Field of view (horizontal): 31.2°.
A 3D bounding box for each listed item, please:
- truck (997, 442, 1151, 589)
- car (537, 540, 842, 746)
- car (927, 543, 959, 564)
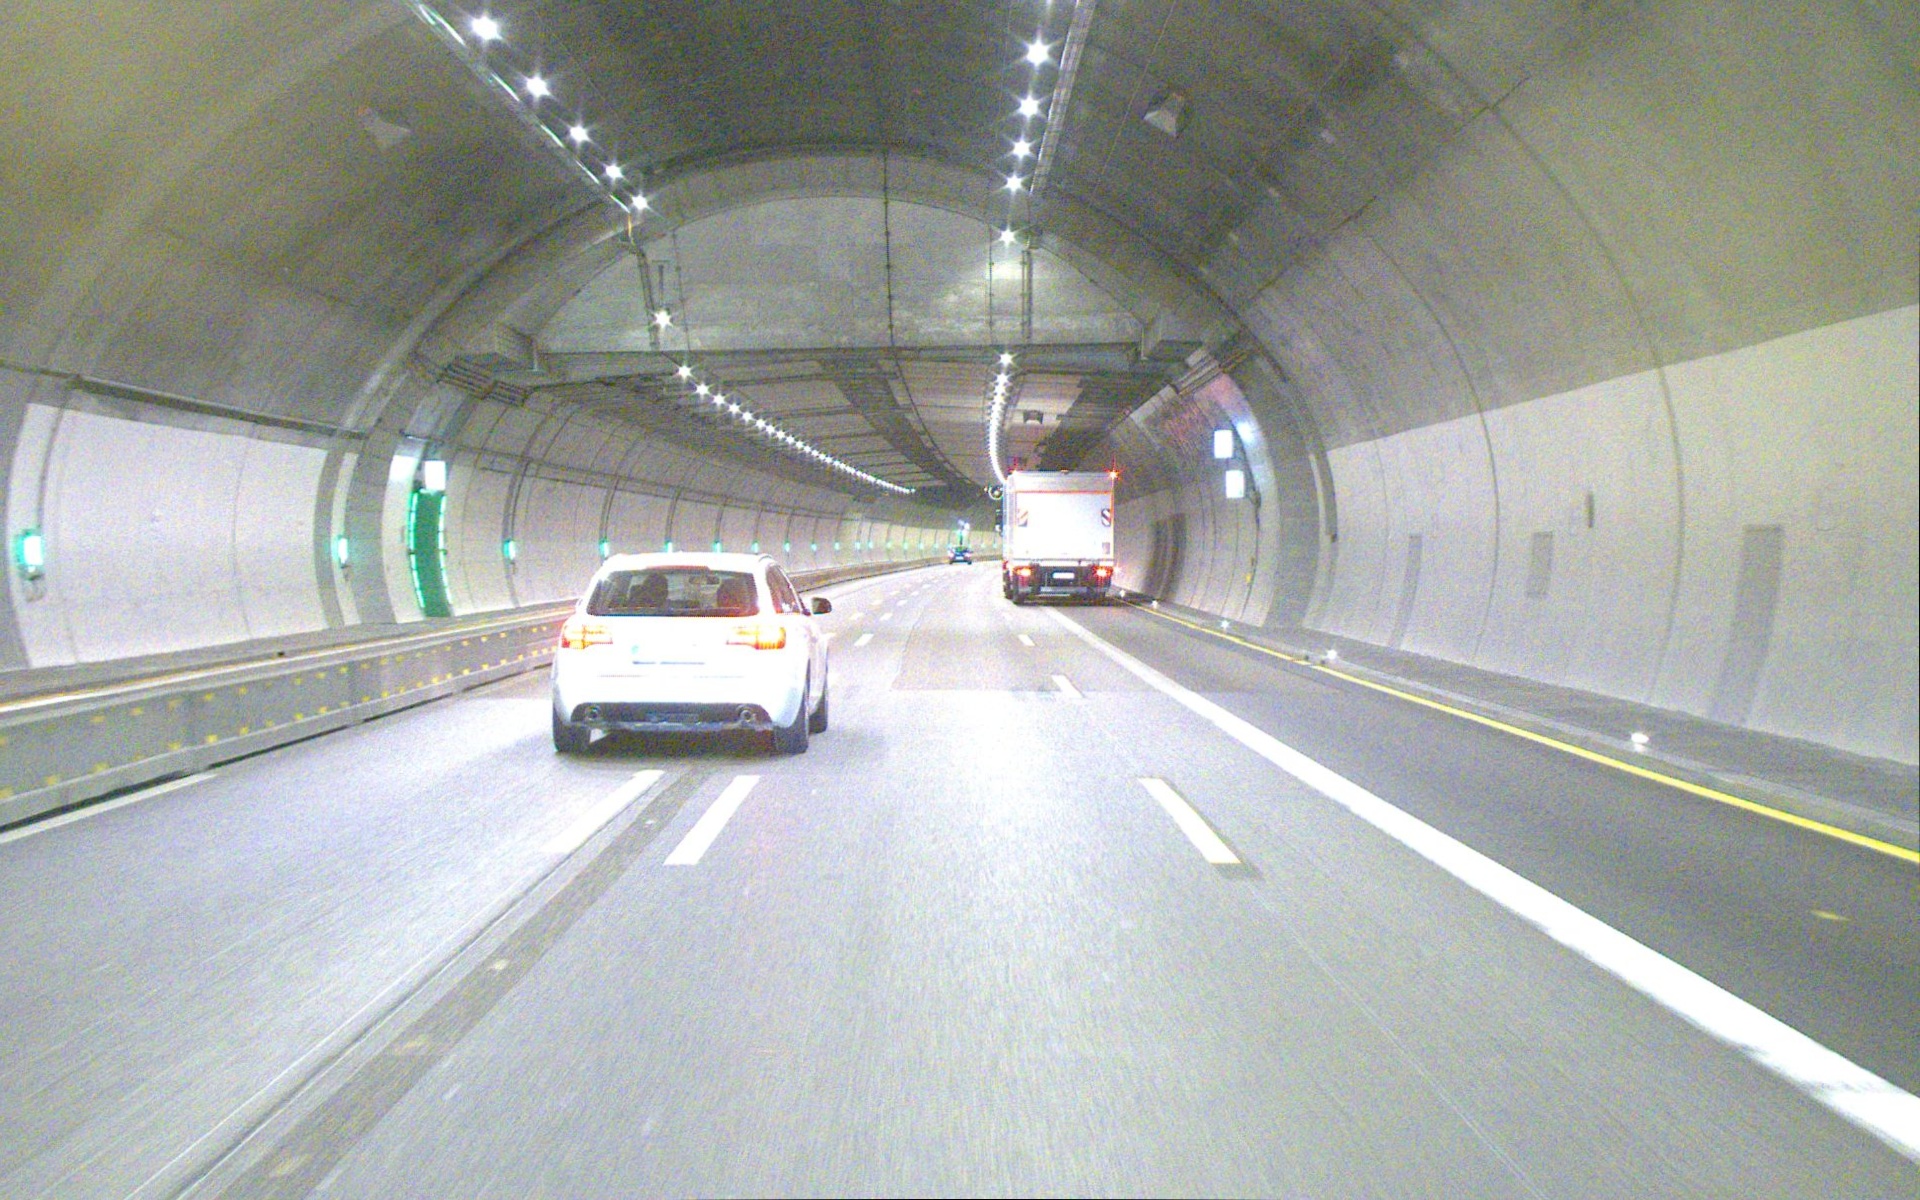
[{"bbox_3d":[2.915,-2.215,91.496,3.592,3.638,10.723,1,1,-1],"label":"truck"},{"bbox_3d":[-1.954,0.256,26.197,1.993,1.408,4.743,1,1,-1],"label":"car"},{"bbox_3d":[-1.239,-3.360,249.342,1.994,1.514,3.999,1,1,4],"label":"car"}]
